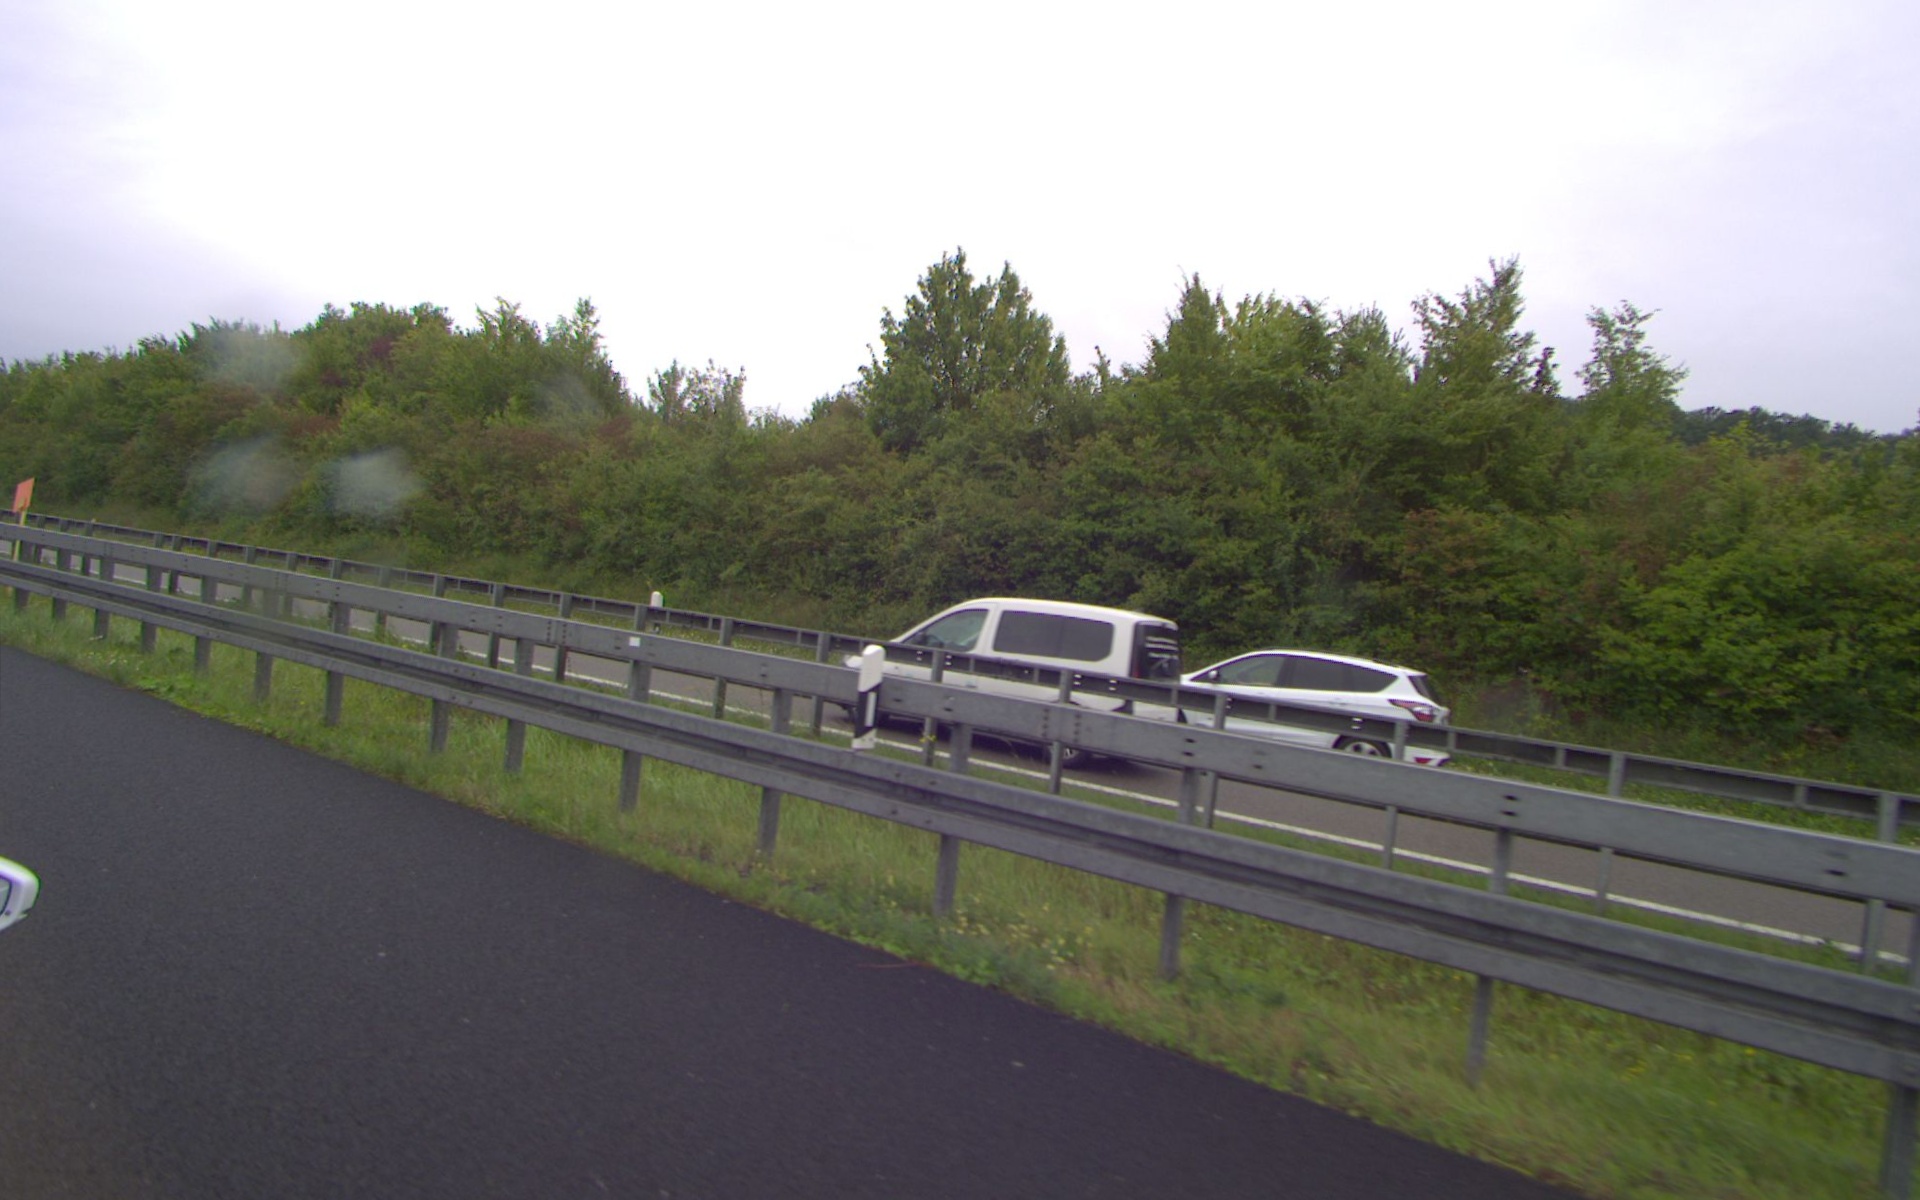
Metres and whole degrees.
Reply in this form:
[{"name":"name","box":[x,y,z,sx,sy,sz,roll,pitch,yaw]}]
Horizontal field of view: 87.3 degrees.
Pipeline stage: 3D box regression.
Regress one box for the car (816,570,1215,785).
[{"name":"car","box":[0.632,0.842,12.171,4.203,1.836,2.012,7,-1,30]}]

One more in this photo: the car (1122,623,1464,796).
[{"name":"car","box":[4.588,1.426,13.973,4.076,1.632,1.900,7,-1,30]}]
